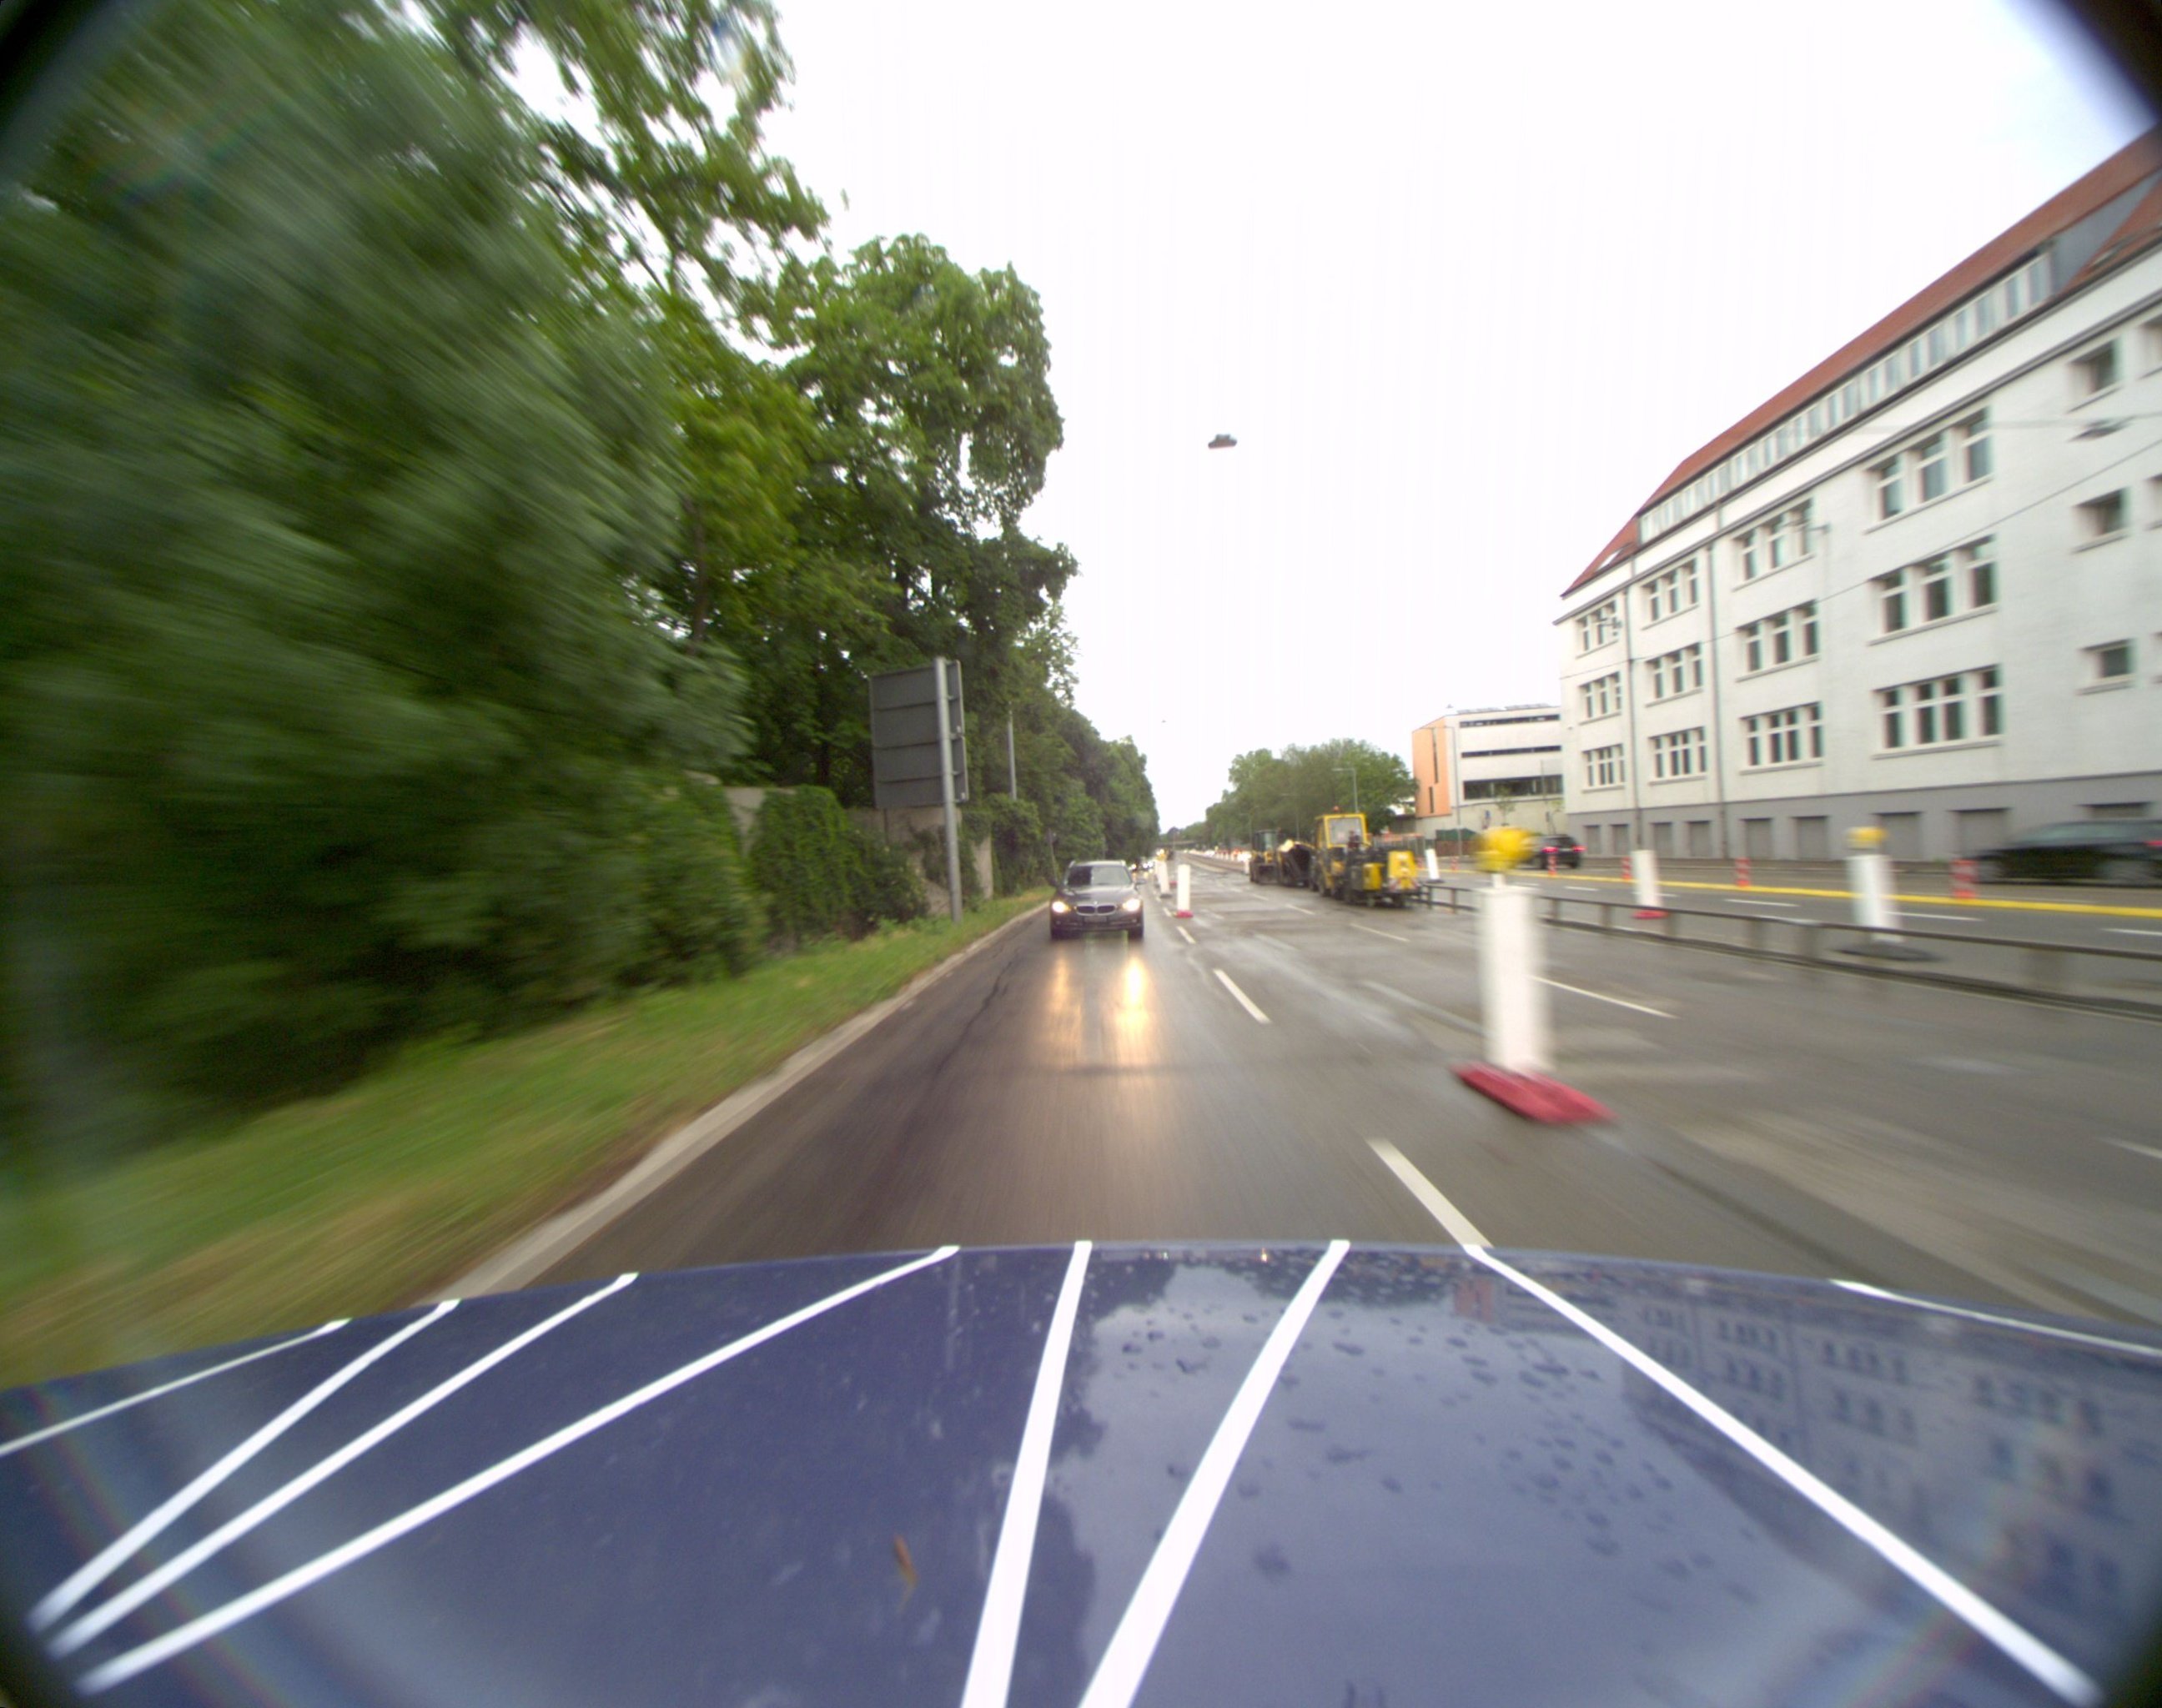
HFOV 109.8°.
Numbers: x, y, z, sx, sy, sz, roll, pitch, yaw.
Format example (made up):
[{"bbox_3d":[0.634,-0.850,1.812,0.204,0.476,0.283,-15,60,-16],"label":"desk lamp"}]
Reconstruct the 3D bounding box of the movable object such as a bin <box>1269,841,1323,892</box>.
[{"bbox_3d":[9.302,0.512,33.170,1.399,2.032,4.087,-2,0,4],"label":"movable object such as a bin"}]

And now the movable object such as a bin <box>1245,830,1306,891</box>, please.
[{"bbox_3d":[9.731,0.295,38.383,2.126,2.821,4.480,-2,0,4],"label":"movable object such as a bin"}]

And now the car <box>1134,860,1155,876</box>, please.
[{"bbox_3d":[7.693,1.621,91.775,1.999,1.740,3.999,-2,1,-2],"label":"car"}]

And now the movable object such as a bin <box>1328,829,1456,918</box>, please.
[{"bbox_3d":[8.185,0.490,20.398,1.998,2.099,3.850,-2,0,4],"label":"movable object such as a bin"}]

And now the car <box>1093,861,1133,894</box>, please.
[{"bbox_3d":[1.688,1.135,38.584,1.839,1.424,4.274,-2,1,4],"label":"car"}]

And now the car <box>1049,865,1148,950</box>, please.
[{"bbox_3d":[0.446,0.991,15.738,1.763,1.441,4.179,1,0,4],"label":"car"}]

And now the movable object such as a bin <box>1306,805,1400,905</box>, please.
[{"bbox_3d":[8.553,0.051,24.210,1.826,2.895,3.608,-2,0,4],"label":"movable object such as a bin"}]

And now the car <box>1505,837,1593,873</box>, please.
[{"bbox_3d":[23.141,0.049,37.769,1.998,1.575,4.212,-2,0,5],"label":"car"}]

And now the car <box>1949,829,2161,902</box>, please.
[{"bbox_3d":[21.413,0.200,15.940,1.862,1.373,4.000,-2,0,1],"label":"car"}]
